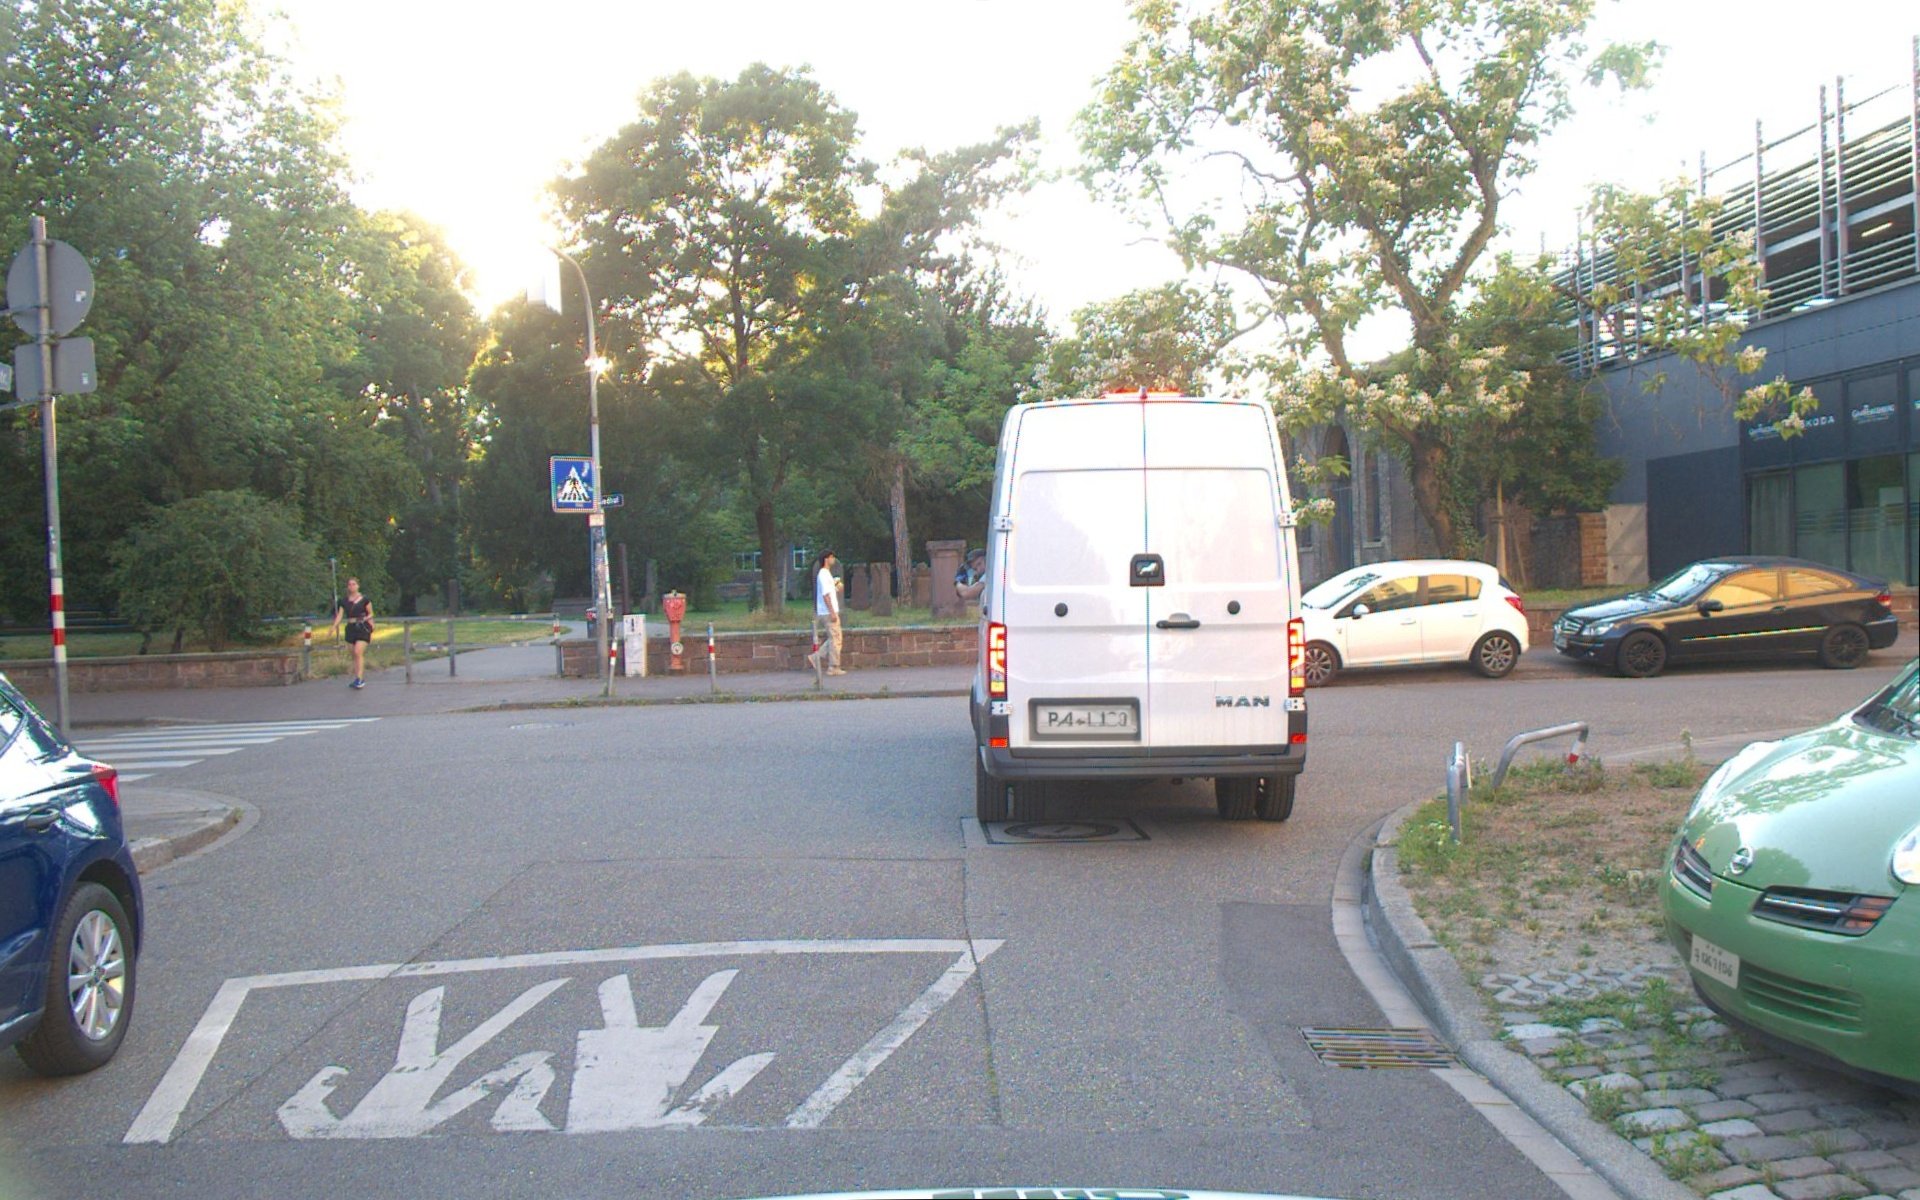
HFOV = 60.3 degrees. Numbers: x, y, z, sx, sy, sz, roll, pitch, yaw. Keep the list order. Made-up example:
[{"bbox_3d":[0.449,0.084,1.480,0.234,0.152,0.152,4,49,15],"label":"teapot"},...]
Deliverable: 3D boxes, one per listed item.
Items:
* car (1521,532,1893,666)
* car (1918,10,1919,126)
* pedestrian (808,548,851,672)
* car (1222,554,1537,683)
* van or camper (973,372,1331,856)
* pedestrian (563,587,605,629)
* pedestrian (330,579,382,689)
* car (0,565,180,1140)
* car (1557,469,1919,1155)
[{"bbox_3d":[10.075,-0.024,22.558,4.204,1.529,1.824,-3,1,2],"label":"car"},{"bbox_3d":[18.052,-9.529,27.605,1.952,2.049,4.002,-1,0,3],"label":"car"},{"bbox_3d":[-1.969,0.142,24.977,0.581,1.840,0.620,-1,0,-1],"label":"pedestrian"},{"bbox_3d":[5.699,0.228,22.786,3.779,1.601,1.957,-1,1,-4],"label":"car"},{"bbox_3d":[1.109,0.049,12.430,1.952,2.664,6.403,1,0,1],"label":"van or camper"},{"bbox_3d":[-13.996,0.288,61.643,1.302,1.469,1.046,-2,1,-3],"label":"pedestrian"},{"bbox_3d":[-9.414,0.517,25.783,0.634,1.677,0.672,0,1,-10],"label":"pedestrian"},{"bbox_3d":[-3.492,0.755,3.901,1.700,1.594,3.787,-3,1,-5],"label":"car"},{"bbox_3d":[4.367,0.414,5.093,4.318,1.660,1.844,-3,-1,-5],"label":"car"}]
